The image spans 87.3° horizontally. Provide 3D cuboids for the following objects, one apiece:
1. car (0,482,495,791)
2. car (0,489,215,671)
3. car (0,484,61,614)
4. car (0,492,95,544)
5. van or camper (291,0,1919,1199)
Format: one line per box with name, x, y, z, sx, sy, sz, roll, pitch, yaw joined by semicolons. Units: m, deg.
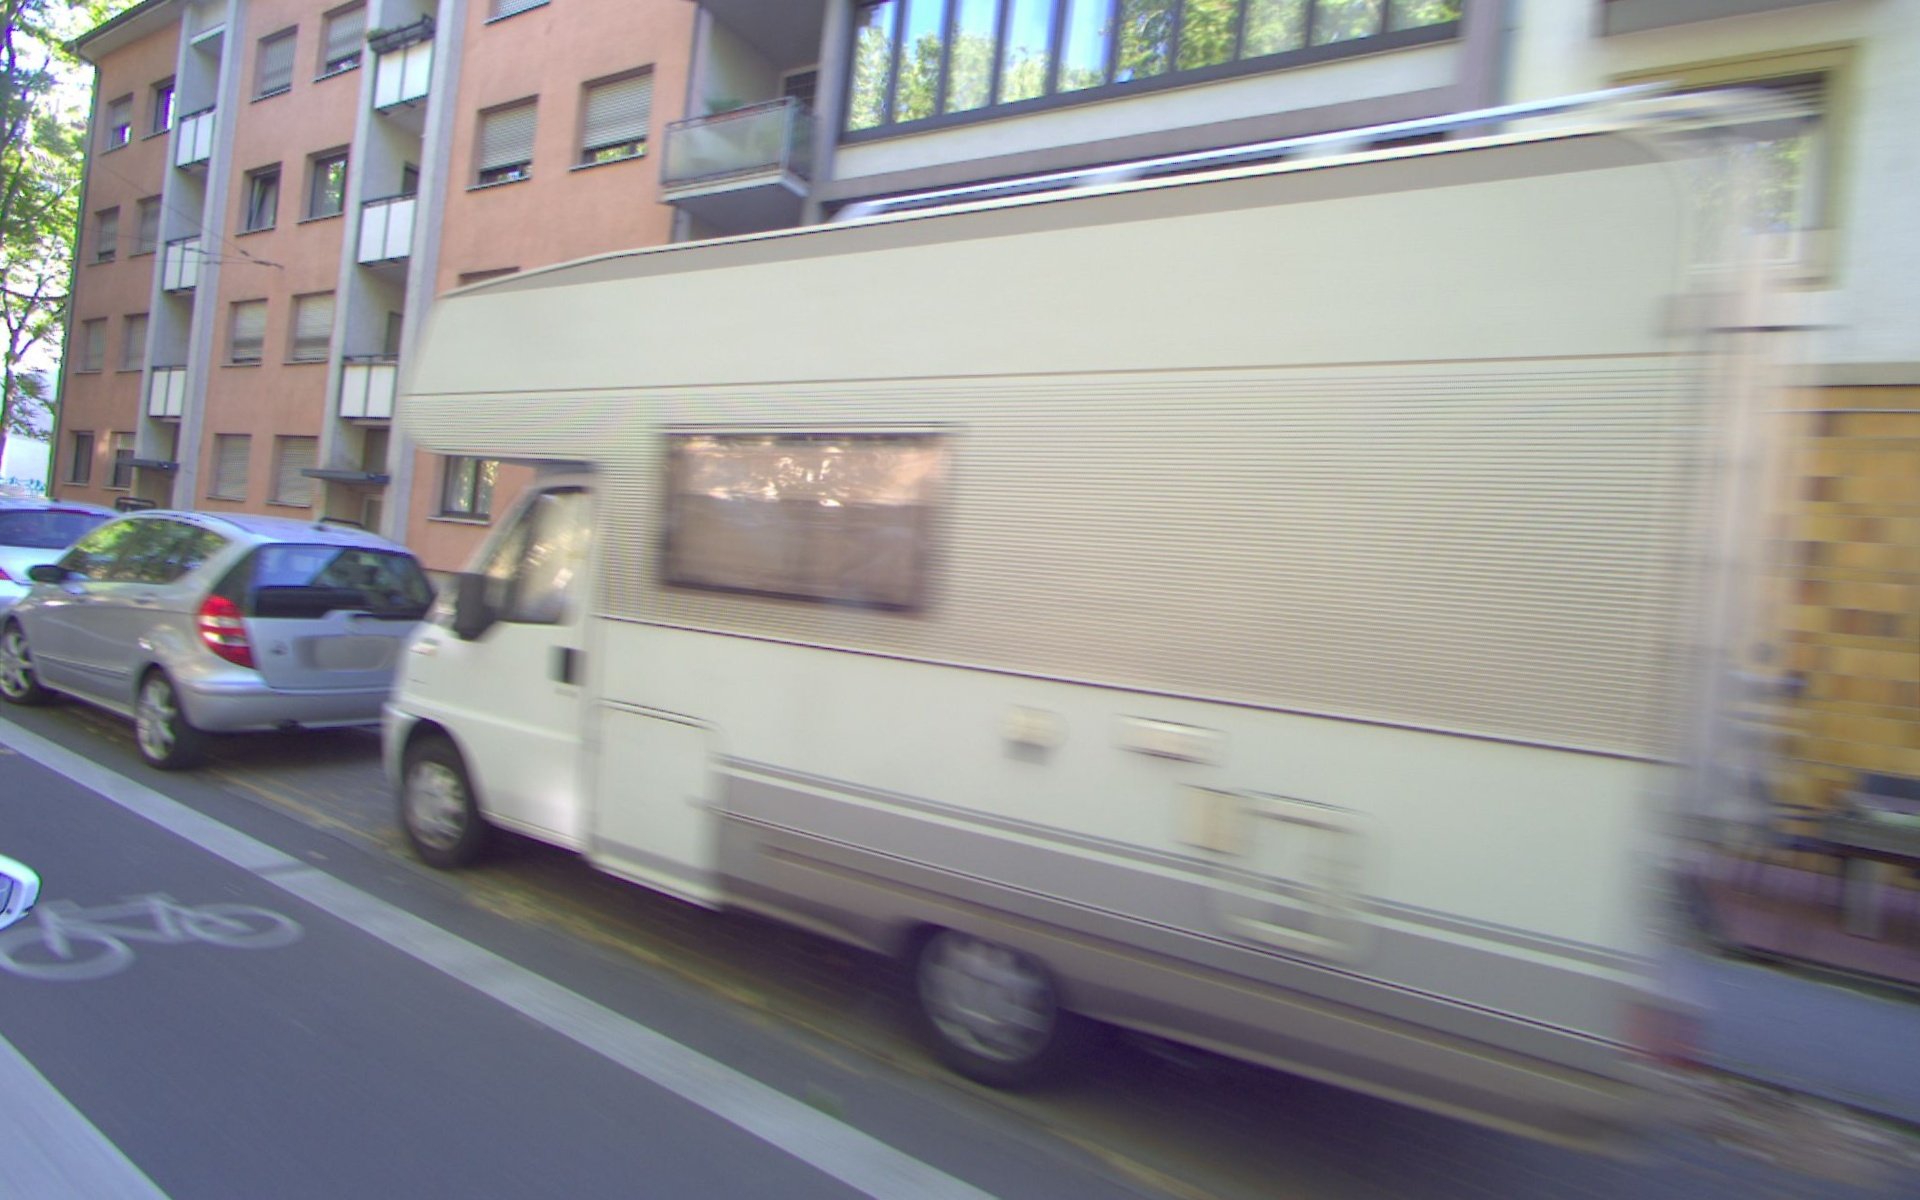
car;-5.662;0.108;7.595;4.205;1.649;1.794;7;2;32
car;-9.653;-0.336;10.269;4.250;1.542;1.789;7;1;32
car;-13.925;-0.862;13.365;4.265;1.593;1.769;7;1;32
car;-35.729;-3.196;38.240;1.535;1.500;3.920;10;1;30
van or camper;-0.085;-0.045;4.678;6.162;3.104;2.464;7;2;31
